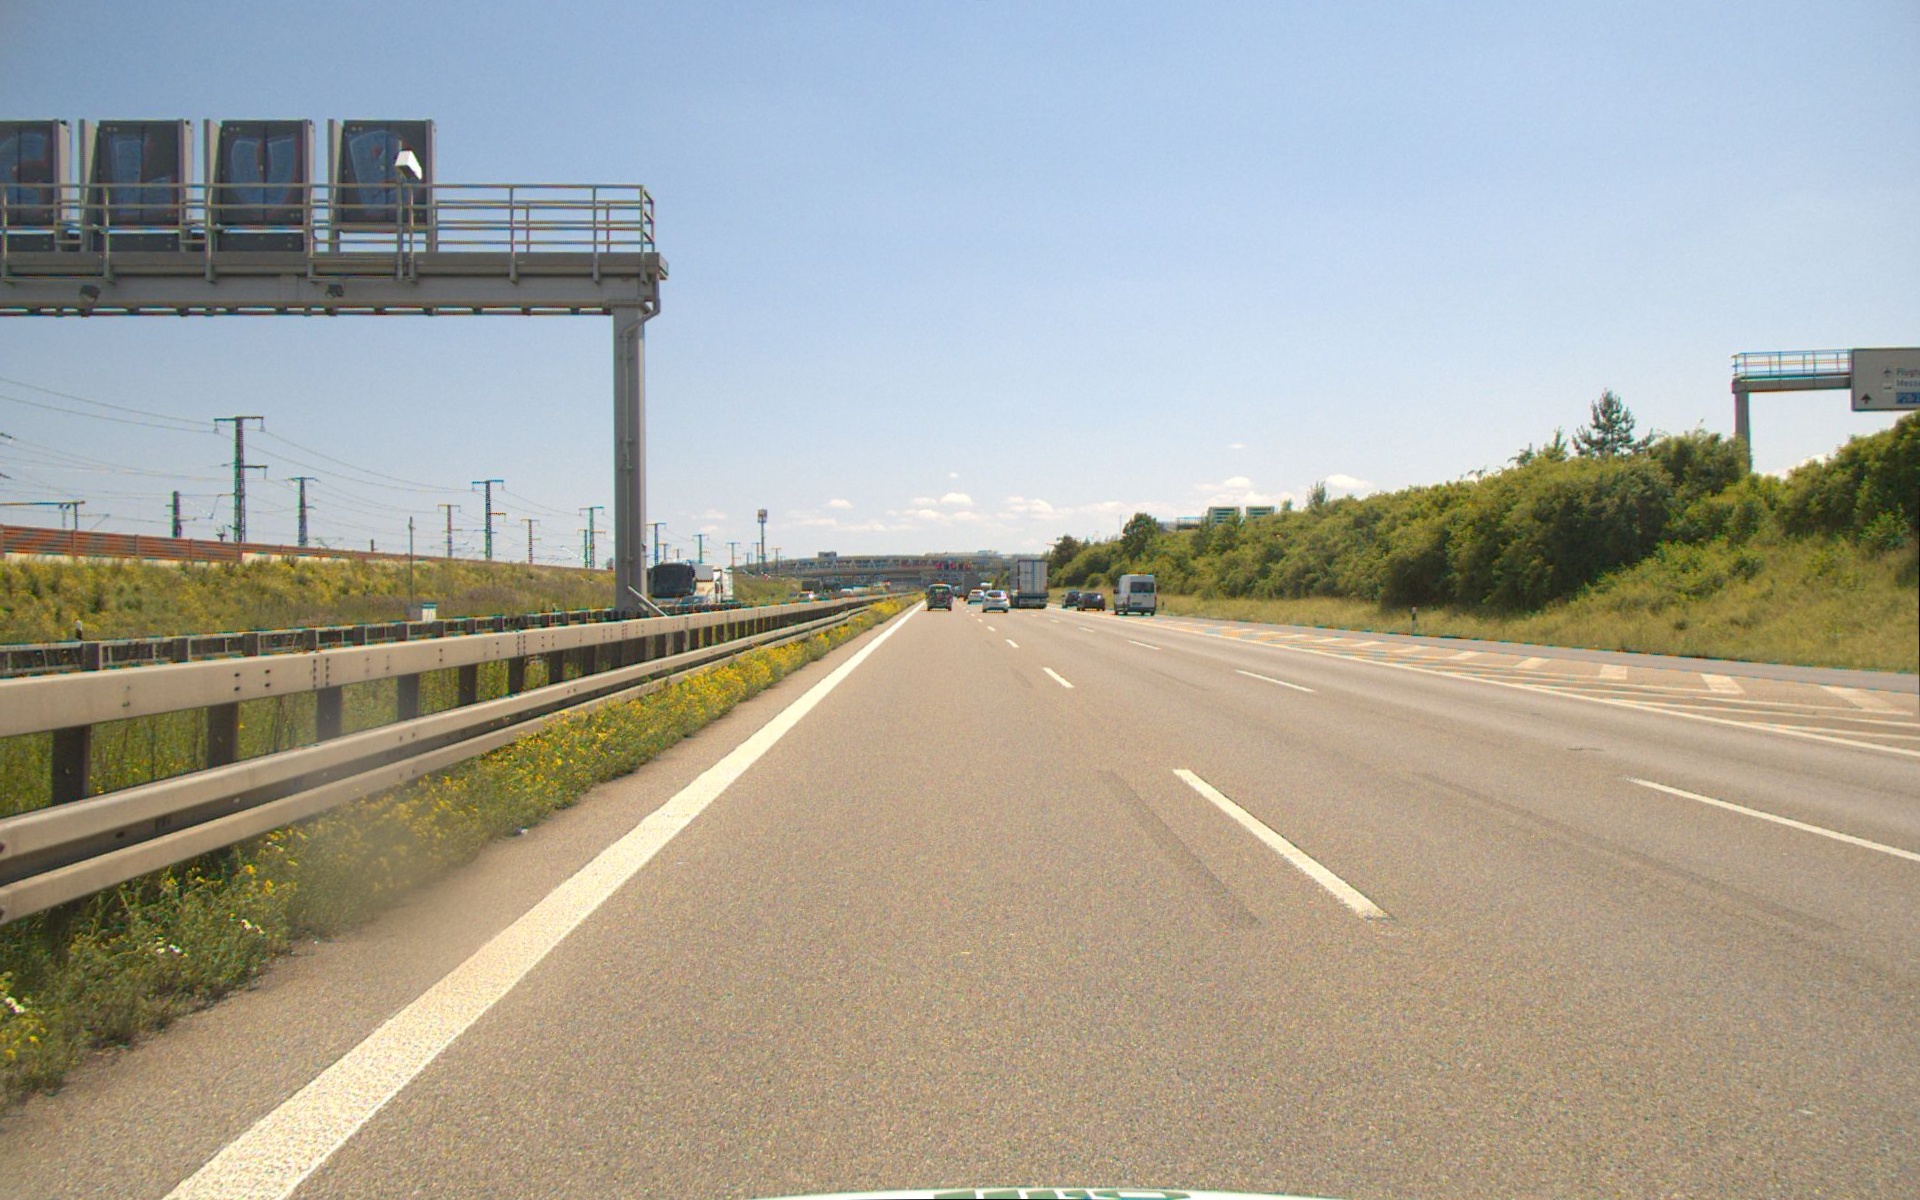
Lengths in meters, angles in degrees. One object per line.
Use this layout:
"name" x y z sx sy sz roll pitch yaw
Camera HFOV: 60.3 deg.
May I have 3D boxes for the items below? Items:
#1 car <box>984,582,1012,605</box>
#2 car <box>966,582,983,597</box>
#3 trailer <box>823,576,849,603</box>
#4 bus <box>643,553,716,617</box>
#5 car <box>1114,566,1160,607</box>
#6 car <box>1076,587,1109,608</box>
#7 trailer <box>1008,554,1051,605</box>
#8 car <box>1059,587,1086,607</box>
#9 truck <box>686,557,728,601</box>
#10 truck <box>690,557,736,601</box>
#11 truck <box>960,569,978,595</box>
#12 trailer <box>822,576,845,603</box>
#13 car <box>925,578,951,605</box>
"car" 2.575 -0.428 111.887 1.841 1.553 4.001 1 0 2
"car" 1.592 -1.153 178.749 1.842 1.553 4.000 1 0 0
"trailer" -18.555 -1.580 248.350 2.989 3.935 15.974 -1 0 -1
"bus" -17.309 -0.945 102.832 2.799 3.709 10.939 1 0 -1
"car" 11.375 -0.873 106.624 2.228 2.572 5.398 0 0 -2
"car" 9.976 -0.176 124.992 1.954 1.534 3.997 1 -1 -3
"trailer" 5.854 -1.707 141.093 3.112 4.130 9.438 -1 0 -1
"car" 9.794 -0.218 144.410 1.953 1.624 3.999 1 -1 -1
"truck" -20.942 -1.745 137.195 2.790 3.527 4.023 1 0 -1
"truck" -20.984 -1.762 140.916 2.799 3.527 7.780 1 0 -1
"truck" 1.157 -2.429 222.588 2.307 3.476 6.056 0 0 -1
"trailer" -18.410 -1.542 241.444 2.989 3.935 7.202 -1 0 -1
"car" -1.542 -0.579 117.431 1.842 1.806 3.999 -1 0 -1
